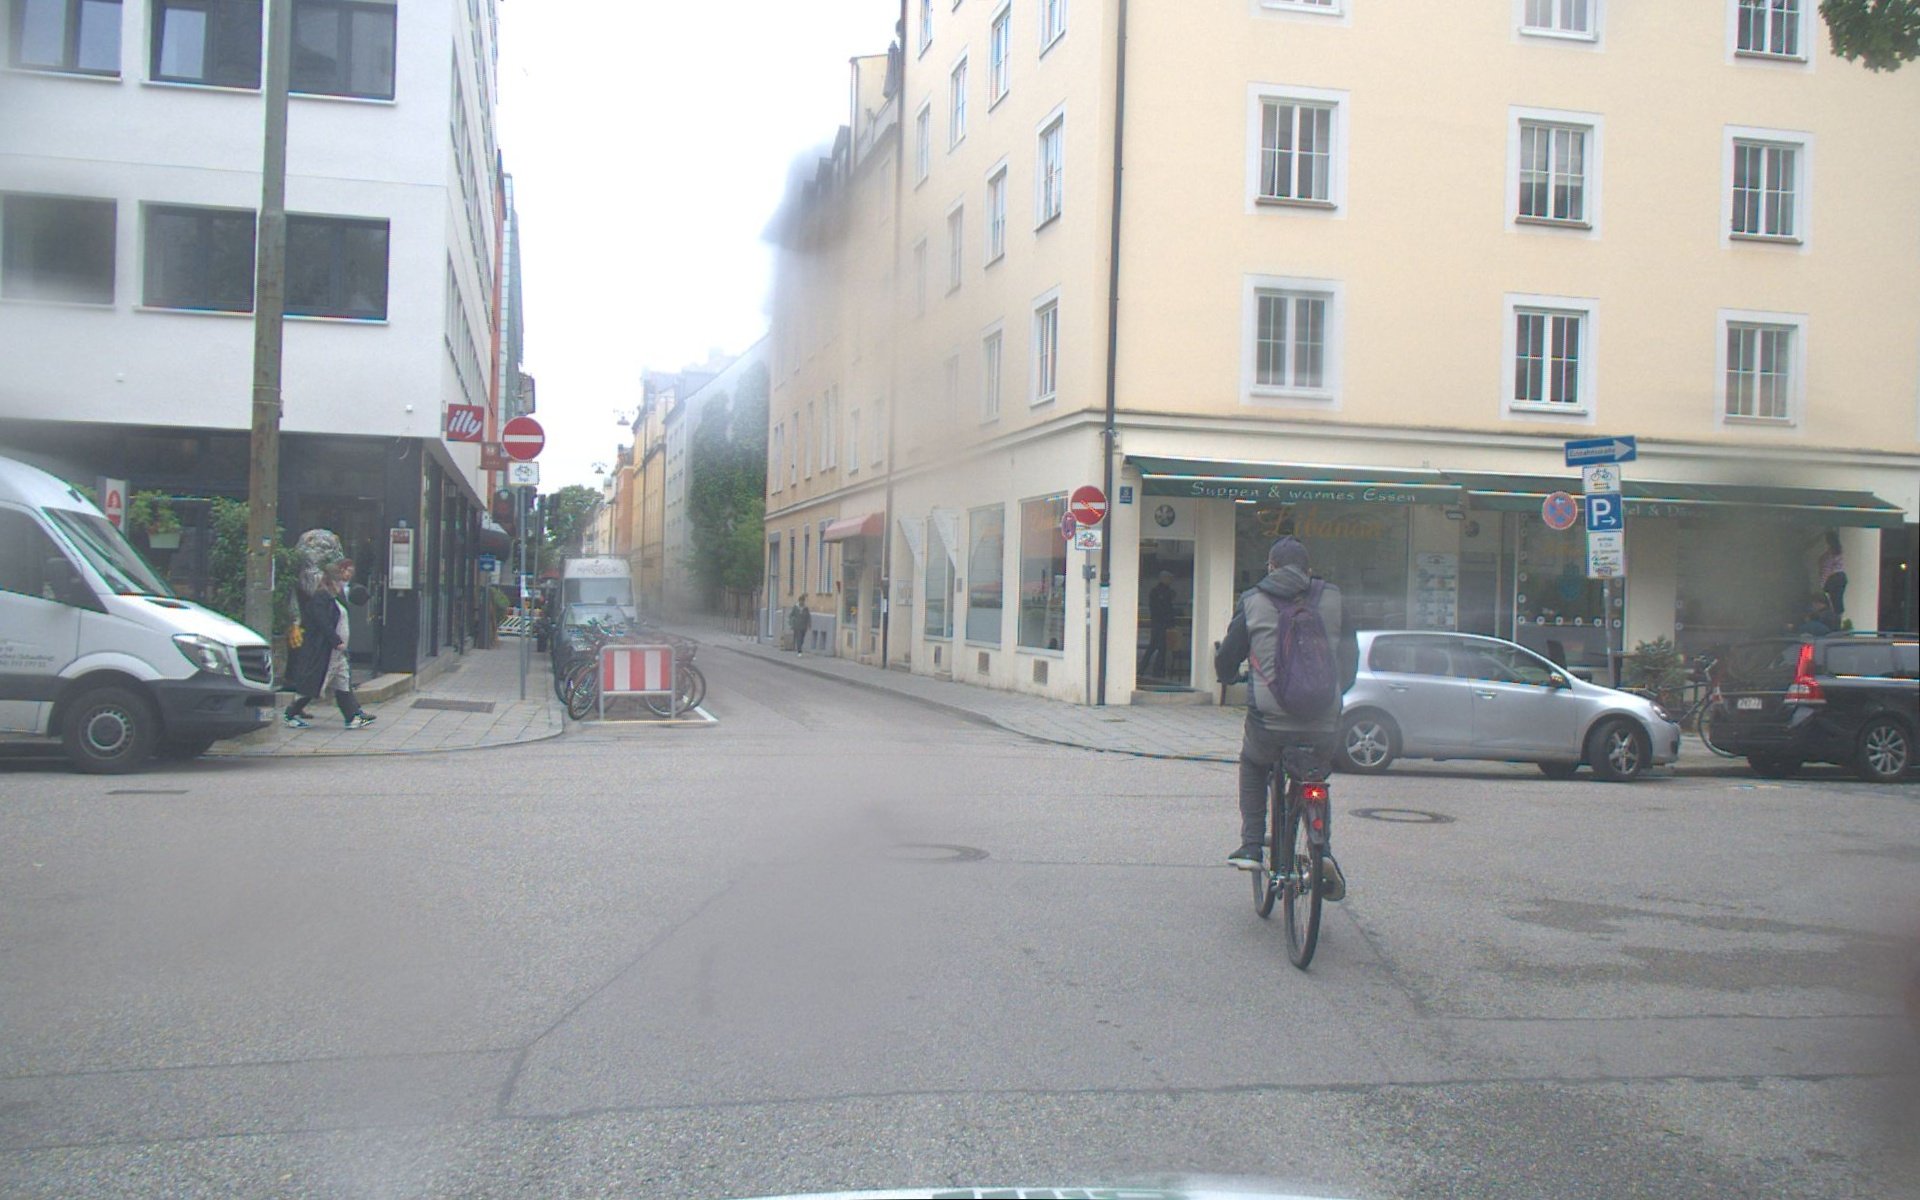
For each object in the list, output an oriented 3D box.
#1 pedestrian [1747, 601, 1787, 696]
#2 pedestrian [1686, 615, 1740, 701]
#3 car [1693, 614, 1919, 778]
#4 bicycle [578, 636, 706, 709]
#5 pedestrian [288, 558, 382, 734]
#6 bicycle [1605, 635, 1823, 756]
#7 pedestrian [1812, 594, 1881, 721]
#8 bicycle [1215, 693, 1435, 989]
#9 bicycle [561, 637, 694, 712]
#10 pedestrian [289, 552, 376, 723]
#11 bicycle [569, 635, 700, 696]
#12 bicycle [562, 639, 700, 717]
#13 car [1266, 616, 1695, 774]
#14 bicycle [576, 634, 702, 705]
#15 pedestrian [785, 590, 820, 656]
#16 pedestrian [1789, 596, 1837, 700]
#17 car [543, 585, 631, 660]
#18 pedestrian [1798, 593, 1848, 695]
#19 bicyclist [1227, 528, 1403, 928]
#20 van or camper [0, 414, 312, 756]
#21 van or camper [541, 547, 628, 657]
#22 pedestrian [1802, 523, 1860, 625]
[{"bbox_3d":[12.703,0.752,26.021,0.502,1.458,0.582,1,0,30],"label":"pedestrian"},{"bbox_3d":[11.865,0.907,26.053,0.507,1.319,0.576,1,0,-32],"label":"pedestrian"},{"bbox_3d":[10.345,1.037,17.790,4.259,1.620,1.815,2,-2,-12],"label":"car"},{"bbox_3d":[-4.447,1.007,23.134,1.709,0.985,0.541,1,0,-18],"label":"bicycle"},{"bbox_3d":[-6.616,0.482,17.494,0.781,1.776,0.765,3,2,-26],"label":"pedestrian"},{"bbox_3d":[8.870,1.114,19.512,2.044,1.275,1.104,2,1,-11],"label":"bicycle"},{"bbox_3d":[12.369,0.798,23.095,0.591,1.731,0.542,1,2,-10],"label":"pedestrian"},{"bbox_3d":[1.513,0.962,7.095,0.626,1.022,1.574,1,0,2],"label":"bicycle"},{"bbox_3d":[-4.501,1.011,22.418,1.709,0.985,0.541,1,0,-18],"label":"bicycle"},{"bbox_3d":[-6.928,0.409,18.251,0.768,1.814,0.614,3,2,-26],"label":"pedestrian"},{"bbox_3d":[-4.909,0.991,24.929,1.881,0.878,0.615,1,0,-18],"label":"bicycle"},{"bbox_3d":[-4.328,1.020,21.753,1.727,0.985,0.592,1,0,-18],"label":"bicycle"},{"bbox_3d":[5.322,0.993,17.253,3.905,1.441,1.820,2,-4,0],"label":"car"},{"bbox_3d":[-4.610,0.995,23.737,1.709,0.985,0.541,1,0,-18],"label":"bicycle"},{"bbox_3d":[-4.421,0.645,46.286,0.862,1.809,0.771,1,0,-13],"label":"pedestrian"},{"bbox_3d":[13.201,0.728,25.603,0.547,1.564,0.433,3,2,37],"label":"pedestrian"},{"bbox_3d":[-8.394,0.476,37.235,1.801,1.562,3.987,1,0,-13],"label":"car"},{"bbox_3d":[13.600,0.692,26.062,0.428,1.578,0.530,1,0,-29],"label":"pedestrian"},{"bbox_3d":[1.522,0.523,7.189,0.593,1.634,0.757,1,0,2],"label":"bicyclist"},{"bbox_3d":[-8.756,-0.121,13.937,5.797,2.724,1.868,1,-2,-10],"label":"van or camper"},{"bbox_3d":[-9.423,0.030,41.737,1.958,2.584,4.746,1,0,-12],"label":"van or camper"},{"bbox_3d":[14.060,-0.412,26.710,0.542,1.602,0.576,3,-1,-11],"label":"pedestrian"}]
